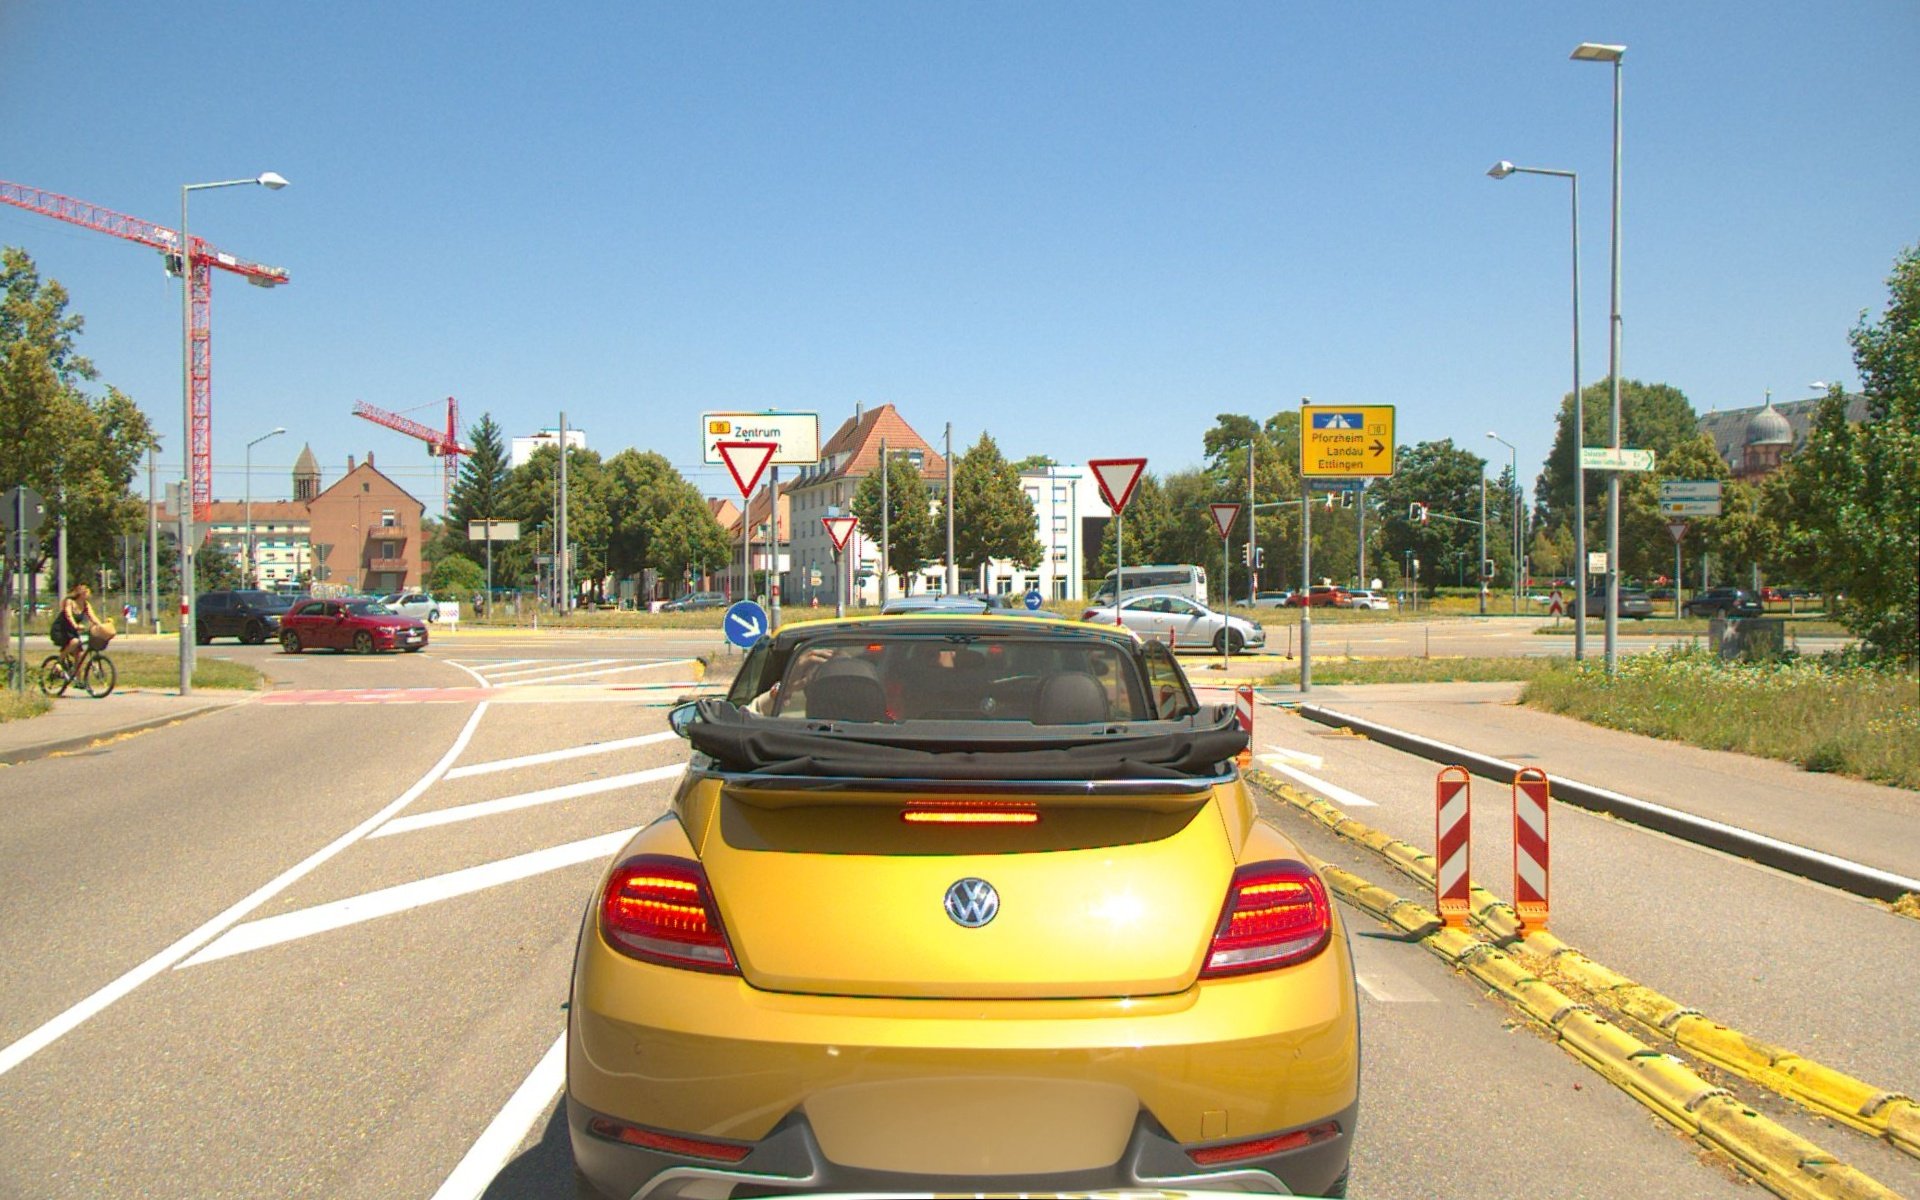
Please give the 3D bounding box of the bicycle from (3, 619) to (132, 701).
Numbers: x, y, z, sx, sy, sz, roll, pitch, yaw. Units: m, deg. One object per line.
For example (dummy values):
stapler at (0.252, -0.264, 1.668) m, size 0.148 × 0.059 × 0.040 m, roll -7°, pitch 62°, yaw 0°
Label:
bicycle at (-14.282, 0.961, 26.486) m, size 1.803 × 1.253 × 0.614 m, roll -2°, pitch -1°, yaw 10°

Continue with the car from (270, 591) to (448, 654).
car at (-15.929, 0.578, 43.809) m, size 4.319 × 1.554 × 1.998 m, roll 1°, pitch 0°, yaw 27°

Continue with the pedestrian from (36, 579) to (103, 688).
pedestrian at (-14.260, 0.533, 26.487) m, size 0.717 × 1.721 × 0.575 m, roll 1°, pitch -1°, yaw 9°

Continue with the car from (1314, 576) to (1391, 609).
car at (22.645, -0.440, 95.491) m, size 3.921 × 1.803 × 1.779 m, roll 1°, pitch 0°, yaw 37°

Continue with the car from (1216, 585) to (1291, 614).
car at (18.628, -0.012, 105.108) m, size 4.354 × 1.766 × 1.842 m, roll 1°, pitch 0°, yaw 35°

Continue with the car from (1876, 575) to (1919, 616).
car at (33.785, -0.134, 56.399) m, size 1.724 × 1.395 × 4.297 m, roll 1°, pitch 0°, yaw -25°

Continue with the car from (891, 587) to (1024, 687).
car at (-0.074, 0.549, 27.615) m, size 2.023 × 1.506 × 4.542 m, roll -1°, pitch 0°, yaw -1°

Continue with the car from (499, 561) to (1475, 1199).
car at (0.022, 0.708, 5.085) m, size 1.729 × 1.507 × 4.257 m, roll 1°, pitch 0°, yaw -1°

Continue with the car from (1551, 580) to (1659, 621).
car at (28.451, 0.020, 73.056) m, size 1.820 × 1.766 × 4.407 m, roll 1°, pitch 0°, yaw -26°

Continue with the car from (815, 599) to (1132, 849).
car at (0.046, 0.714, 11.664) m, size 1.814 × 1.389 × 4.257 m, roll -1°, pitch 0°, yaw -1°

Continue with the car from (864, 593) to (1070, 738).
car at (0.037, 0.658, 18.554) m, size 2.023 × 1.406 × 4.257 m, roll 1°, pitch 0°, yaw -1°

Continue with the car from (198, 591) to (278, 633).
car at (-27.364, 0.429, 62.771) m, size 1.742 × 1.554 × 3.866 m, roll -1°, pitch 0°, yaw -7°

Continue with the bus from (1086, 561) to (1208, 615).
bus at (11.501, -0.736, 101.834) m, size 7.109 × 3.228 × 2.259 m, roll 1°, pitch 0°, yaw 25°

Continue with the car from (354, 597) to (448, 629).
car at (-26.337, 0.609, 78.097) m, size 1.693 × 1.427 × 4.267 m, roll 1°, pitch 0°, yaw 26°

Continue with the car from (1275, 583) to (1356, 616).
car at (19.825, -0.045, 92.427) m, size 1.827 × 1.766 × 4.389 m, roll 1°, pitch 0°, yaw -35°

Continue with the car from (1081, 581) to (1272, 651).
car at (5.045, 0.371, 38.841) m, size 4.311 × 1.554 × 2.001 m, roll -1°, pitch 0°, yaw 5°

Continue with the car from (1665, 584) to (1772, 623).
car at (35.466, 0.159, 77.437) m, size 1.820 × 1.766 × 4.407 m, roll 1°, pitch 0°, yaw -26°

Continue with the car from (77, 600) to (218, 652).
car at (-27.441, 0.872, 55.858) m, size 4.318 × 1.623 × 1.998 m, roll 1°, pitch -1°, yaw 26°
